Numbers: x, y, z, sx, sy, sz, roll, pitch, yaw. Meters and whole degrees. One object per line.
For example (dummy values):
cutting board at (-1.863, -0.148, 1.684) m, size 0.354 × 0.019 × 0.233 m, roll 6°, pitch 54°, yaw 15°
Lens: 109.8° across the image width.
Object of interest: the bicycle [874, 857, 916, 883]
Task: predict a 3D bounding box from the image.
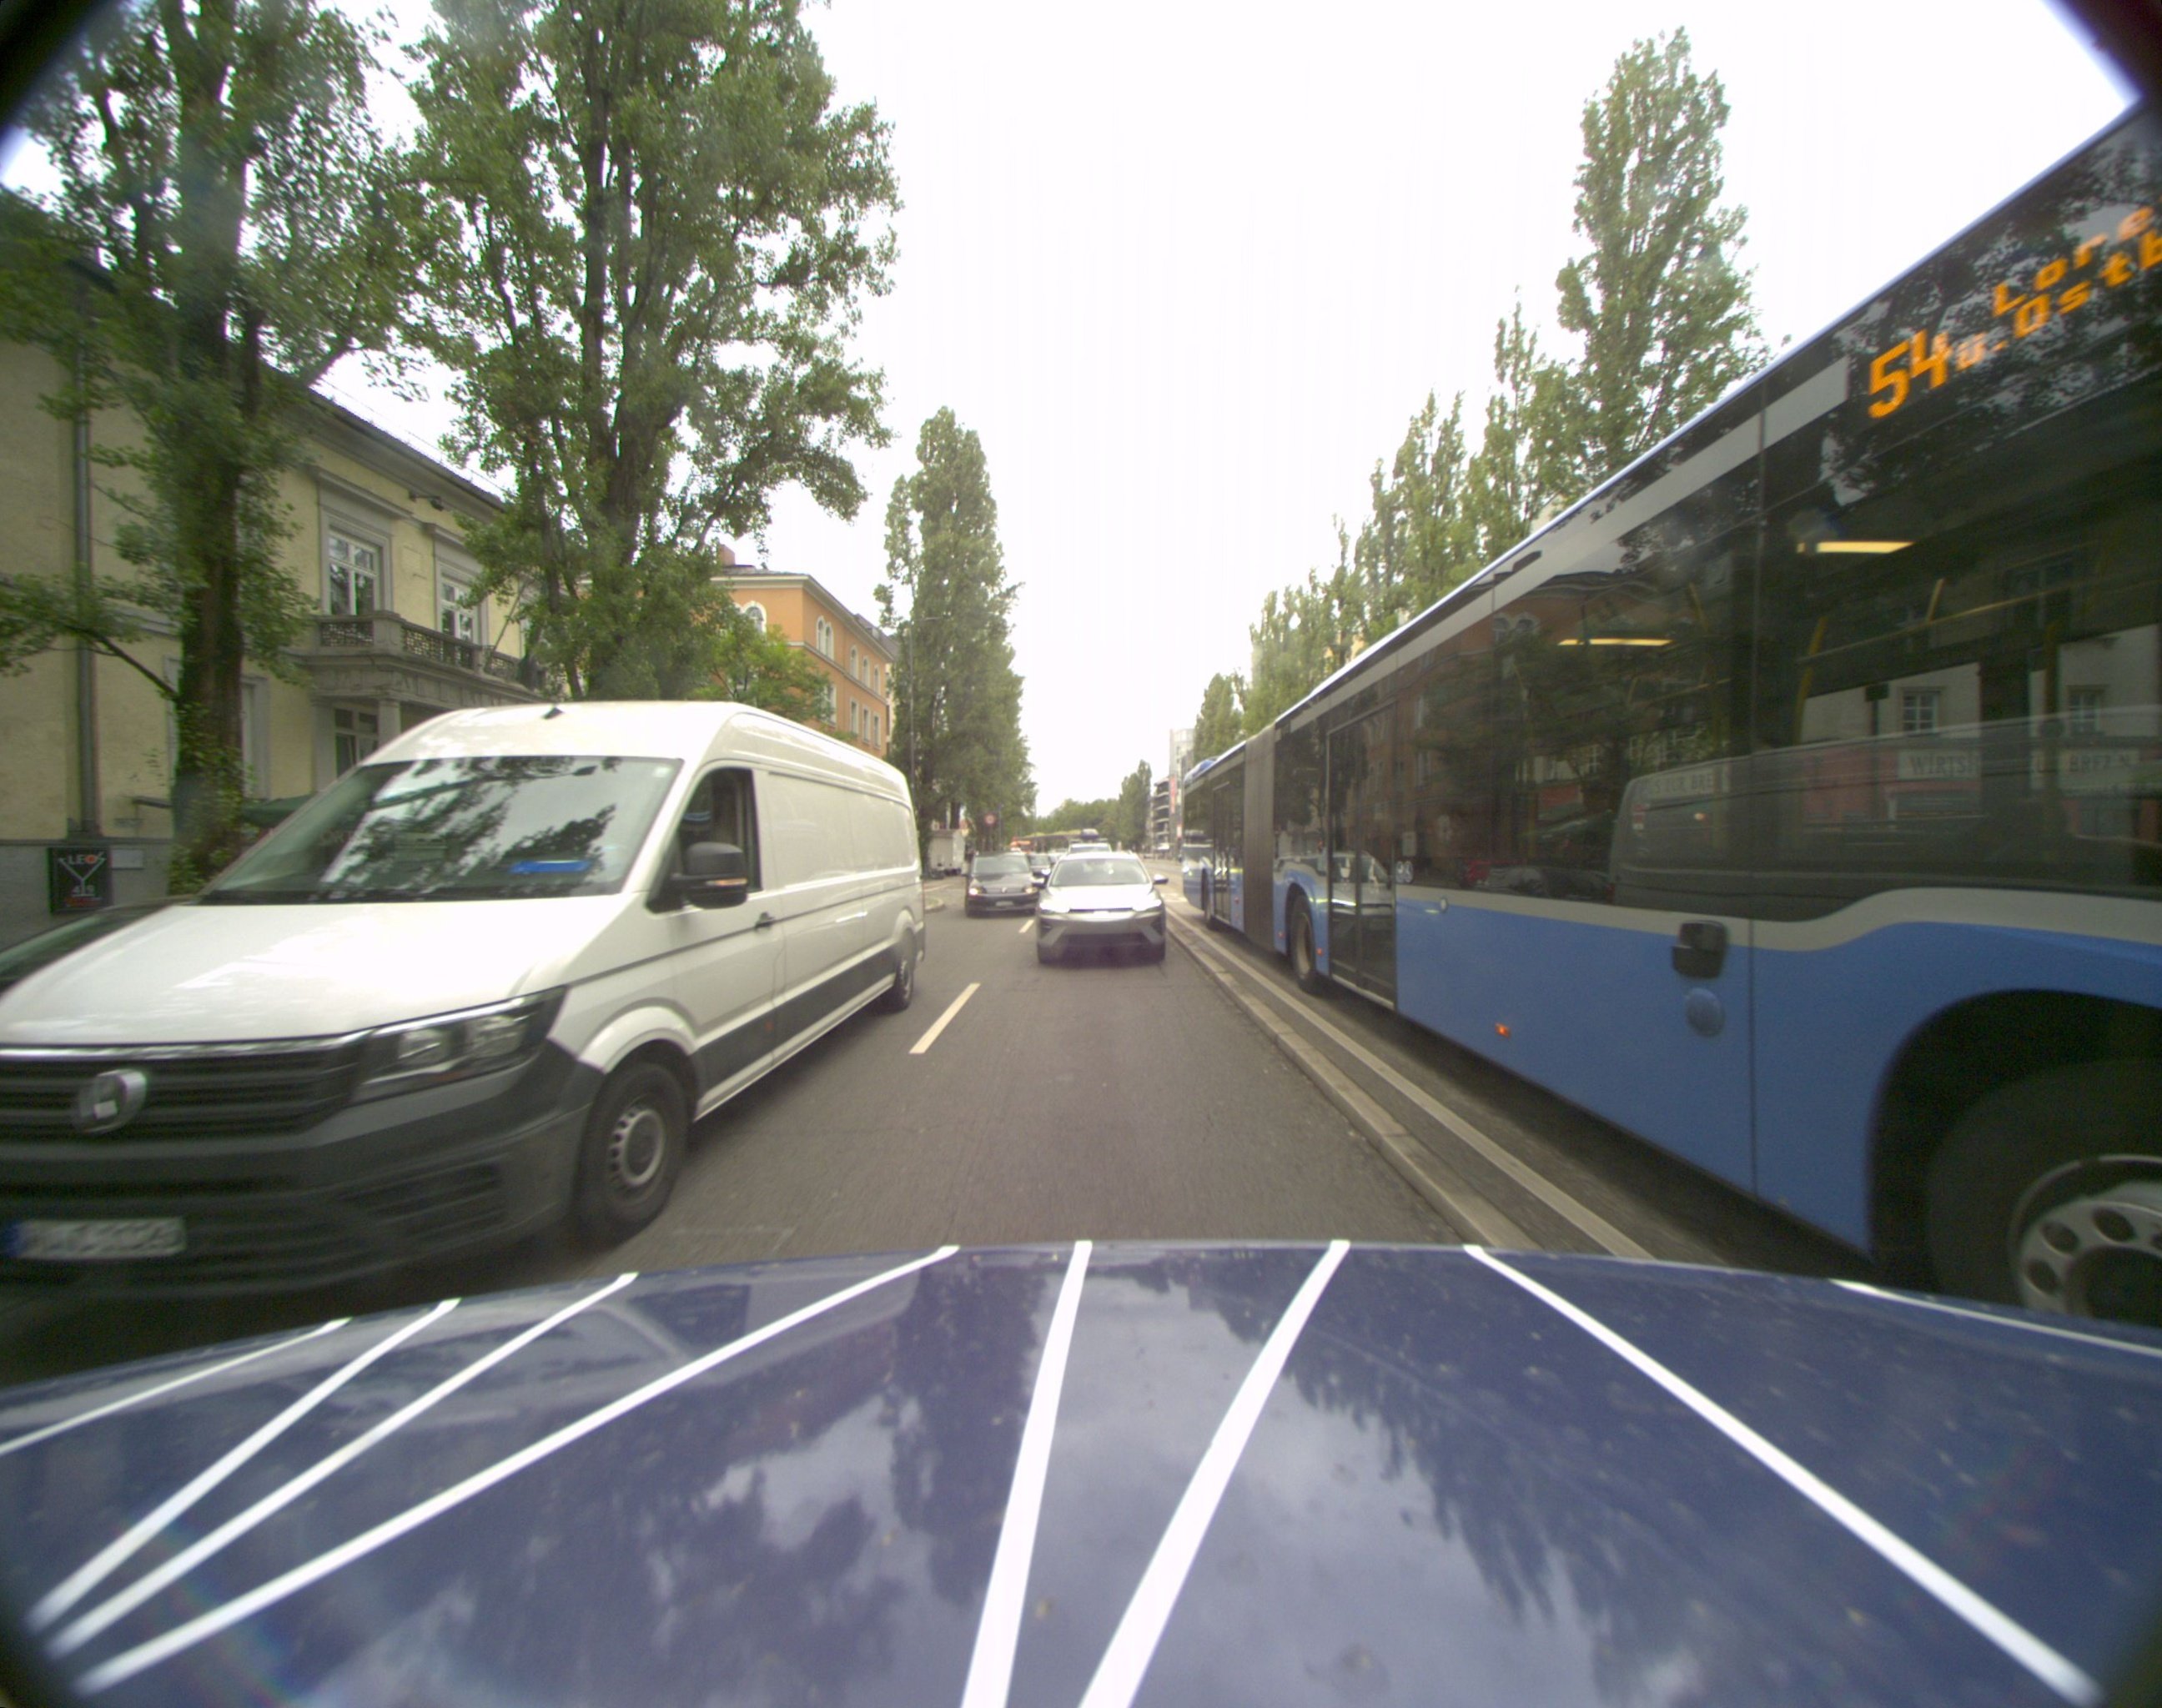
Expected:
bicycle at (-9.218, 0.801, 37.654) m, size 1.945 × 1.232 × 0.561 m, roll -1°, pitch 1°, yaw 2°

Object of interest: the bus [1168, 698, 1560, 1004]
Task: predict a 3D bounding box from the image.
bus at (3.314, -0.068, 12.353) m, size 2.690 × 2.932 × 10.051 m, roll -1°, pitch 1°, yaw 0°

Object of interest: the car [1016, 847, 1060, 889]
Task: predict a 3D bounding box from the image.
car at (-1.866, 0.566, 33.865) m, size 1.706 × 1.683 × 4.002 m, roll -3°, pitch 0°, yaw -1°

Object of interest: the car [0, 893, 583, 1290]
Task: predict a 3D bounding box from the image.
car at (-5.354, 1.086, 4.788) m, size 1.714 × 1.385 × 4.342 m, roll -2°, pitch 1°, yaw -3°

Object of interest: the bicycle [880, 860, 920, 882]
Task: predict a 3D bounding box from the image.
bicycle at (-9.272, 0.884, 38.949) m, size 1.945 × 1.082 × 0.561 m, roll -1°, pitch 1°, yaw 2°

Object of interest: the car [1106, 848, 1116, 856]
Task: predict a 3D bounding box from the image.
car at (5.695, -0.418, 145.177) m, size 1.718 × 1.532 × 4.076 m, roll 1°, pitch 1°, yaw 1°

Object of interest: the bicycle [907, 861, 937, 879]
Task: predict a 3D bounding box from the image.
bicycle at (-8.903, 0.891, 42.540) m, size 1.602 × 1.004 × 0.342 m, roll -1°, pitch 1°, yaw -6°

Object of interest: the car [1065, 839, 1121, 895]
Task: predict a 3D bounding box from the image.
car at (0.399, 0.395, 28.324) m, size 1.839 × 1.831 × 5.128 m, roll -2°, pitch 1°, yaw 0°

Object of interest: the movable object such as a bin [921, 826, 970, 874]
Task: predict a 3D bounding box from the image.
movable object such as a bin at (-9.230, -0.300, 52.081) m, size 2.445 × 3.119 × 4.543 m, roll 1°, pitch 1°, yaw 1°

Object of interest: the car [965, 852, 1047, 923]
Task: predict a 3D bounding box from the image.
car at (-2.069, 0.780, 19.998) m, size 1.884 × 1.582 × 4.189 m, roll -2°, pitch 1°, yaw -9°

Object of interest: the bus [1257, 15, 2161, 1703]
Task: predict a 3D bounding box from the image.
bus at (3.242, -0.012, 3.314) m, size 2.696 × 2.932 × 10.051 m, roll -1°, pitch 1°, yaw 0°

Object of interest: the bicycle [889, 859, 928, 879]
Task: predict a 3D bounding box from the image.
bicycle at (-9.308, 0.808, 41.044) m, size 1.945 × 1.078 × 0.561 m, roll -1°, pitch 1°, yaw 2°

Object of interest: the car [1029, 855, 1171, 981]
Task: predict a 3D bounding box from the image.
car at (0.242, 0.814, 11.650) m, size 1.742 × 1.510 × 4.033 m, roll -2°, pitch 0°, yaw 0°

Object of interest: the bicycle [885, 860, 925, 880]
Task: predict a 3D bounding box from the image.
bicycle at (-9.318, 0.844, 40.296) m, size 1.945 × 1.004 × 0.561 m, roll -1°, pitch 1°, yaw 2°

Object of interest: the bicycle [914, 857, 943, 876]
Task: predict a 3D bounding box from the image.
bicycle at (-8.852, 0.728, 44.018) m, size 1.604 × 1.078 × 0.341 m, roll -1°, pitch 1°, yaw -21°

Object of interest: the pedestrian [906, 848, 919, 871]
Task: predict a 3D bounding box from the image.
pedestrian at (-12.025, 0.389, 54.254) m, size 0.745 × 1.562 × 0.614 m, roll -2°, pitch 2°, yaw 4°

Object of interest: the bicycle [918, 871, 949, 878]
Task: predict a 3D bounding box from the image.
bicycle at (-8.371, 1.180, 43.276) m, size 1.677 × 0.371 × 0.830 m, roll 1°, pitch 0°, yaw -7°

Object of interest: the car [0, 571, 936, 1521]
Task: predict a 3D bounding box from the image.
car at (-2.796, 0.510, 5.364) m, size 2.068 × 2.478 × 6.730 m, roll -1°, pitch 0°, yaw 1°

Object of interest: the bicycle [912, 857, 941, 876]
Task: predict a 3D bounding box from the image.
bicycle at (-9.008, 0.731, 44.349) m, size 1.610 × 1.078 × 0.321 m, roll -1°, pitch 1°, yaw -22°
